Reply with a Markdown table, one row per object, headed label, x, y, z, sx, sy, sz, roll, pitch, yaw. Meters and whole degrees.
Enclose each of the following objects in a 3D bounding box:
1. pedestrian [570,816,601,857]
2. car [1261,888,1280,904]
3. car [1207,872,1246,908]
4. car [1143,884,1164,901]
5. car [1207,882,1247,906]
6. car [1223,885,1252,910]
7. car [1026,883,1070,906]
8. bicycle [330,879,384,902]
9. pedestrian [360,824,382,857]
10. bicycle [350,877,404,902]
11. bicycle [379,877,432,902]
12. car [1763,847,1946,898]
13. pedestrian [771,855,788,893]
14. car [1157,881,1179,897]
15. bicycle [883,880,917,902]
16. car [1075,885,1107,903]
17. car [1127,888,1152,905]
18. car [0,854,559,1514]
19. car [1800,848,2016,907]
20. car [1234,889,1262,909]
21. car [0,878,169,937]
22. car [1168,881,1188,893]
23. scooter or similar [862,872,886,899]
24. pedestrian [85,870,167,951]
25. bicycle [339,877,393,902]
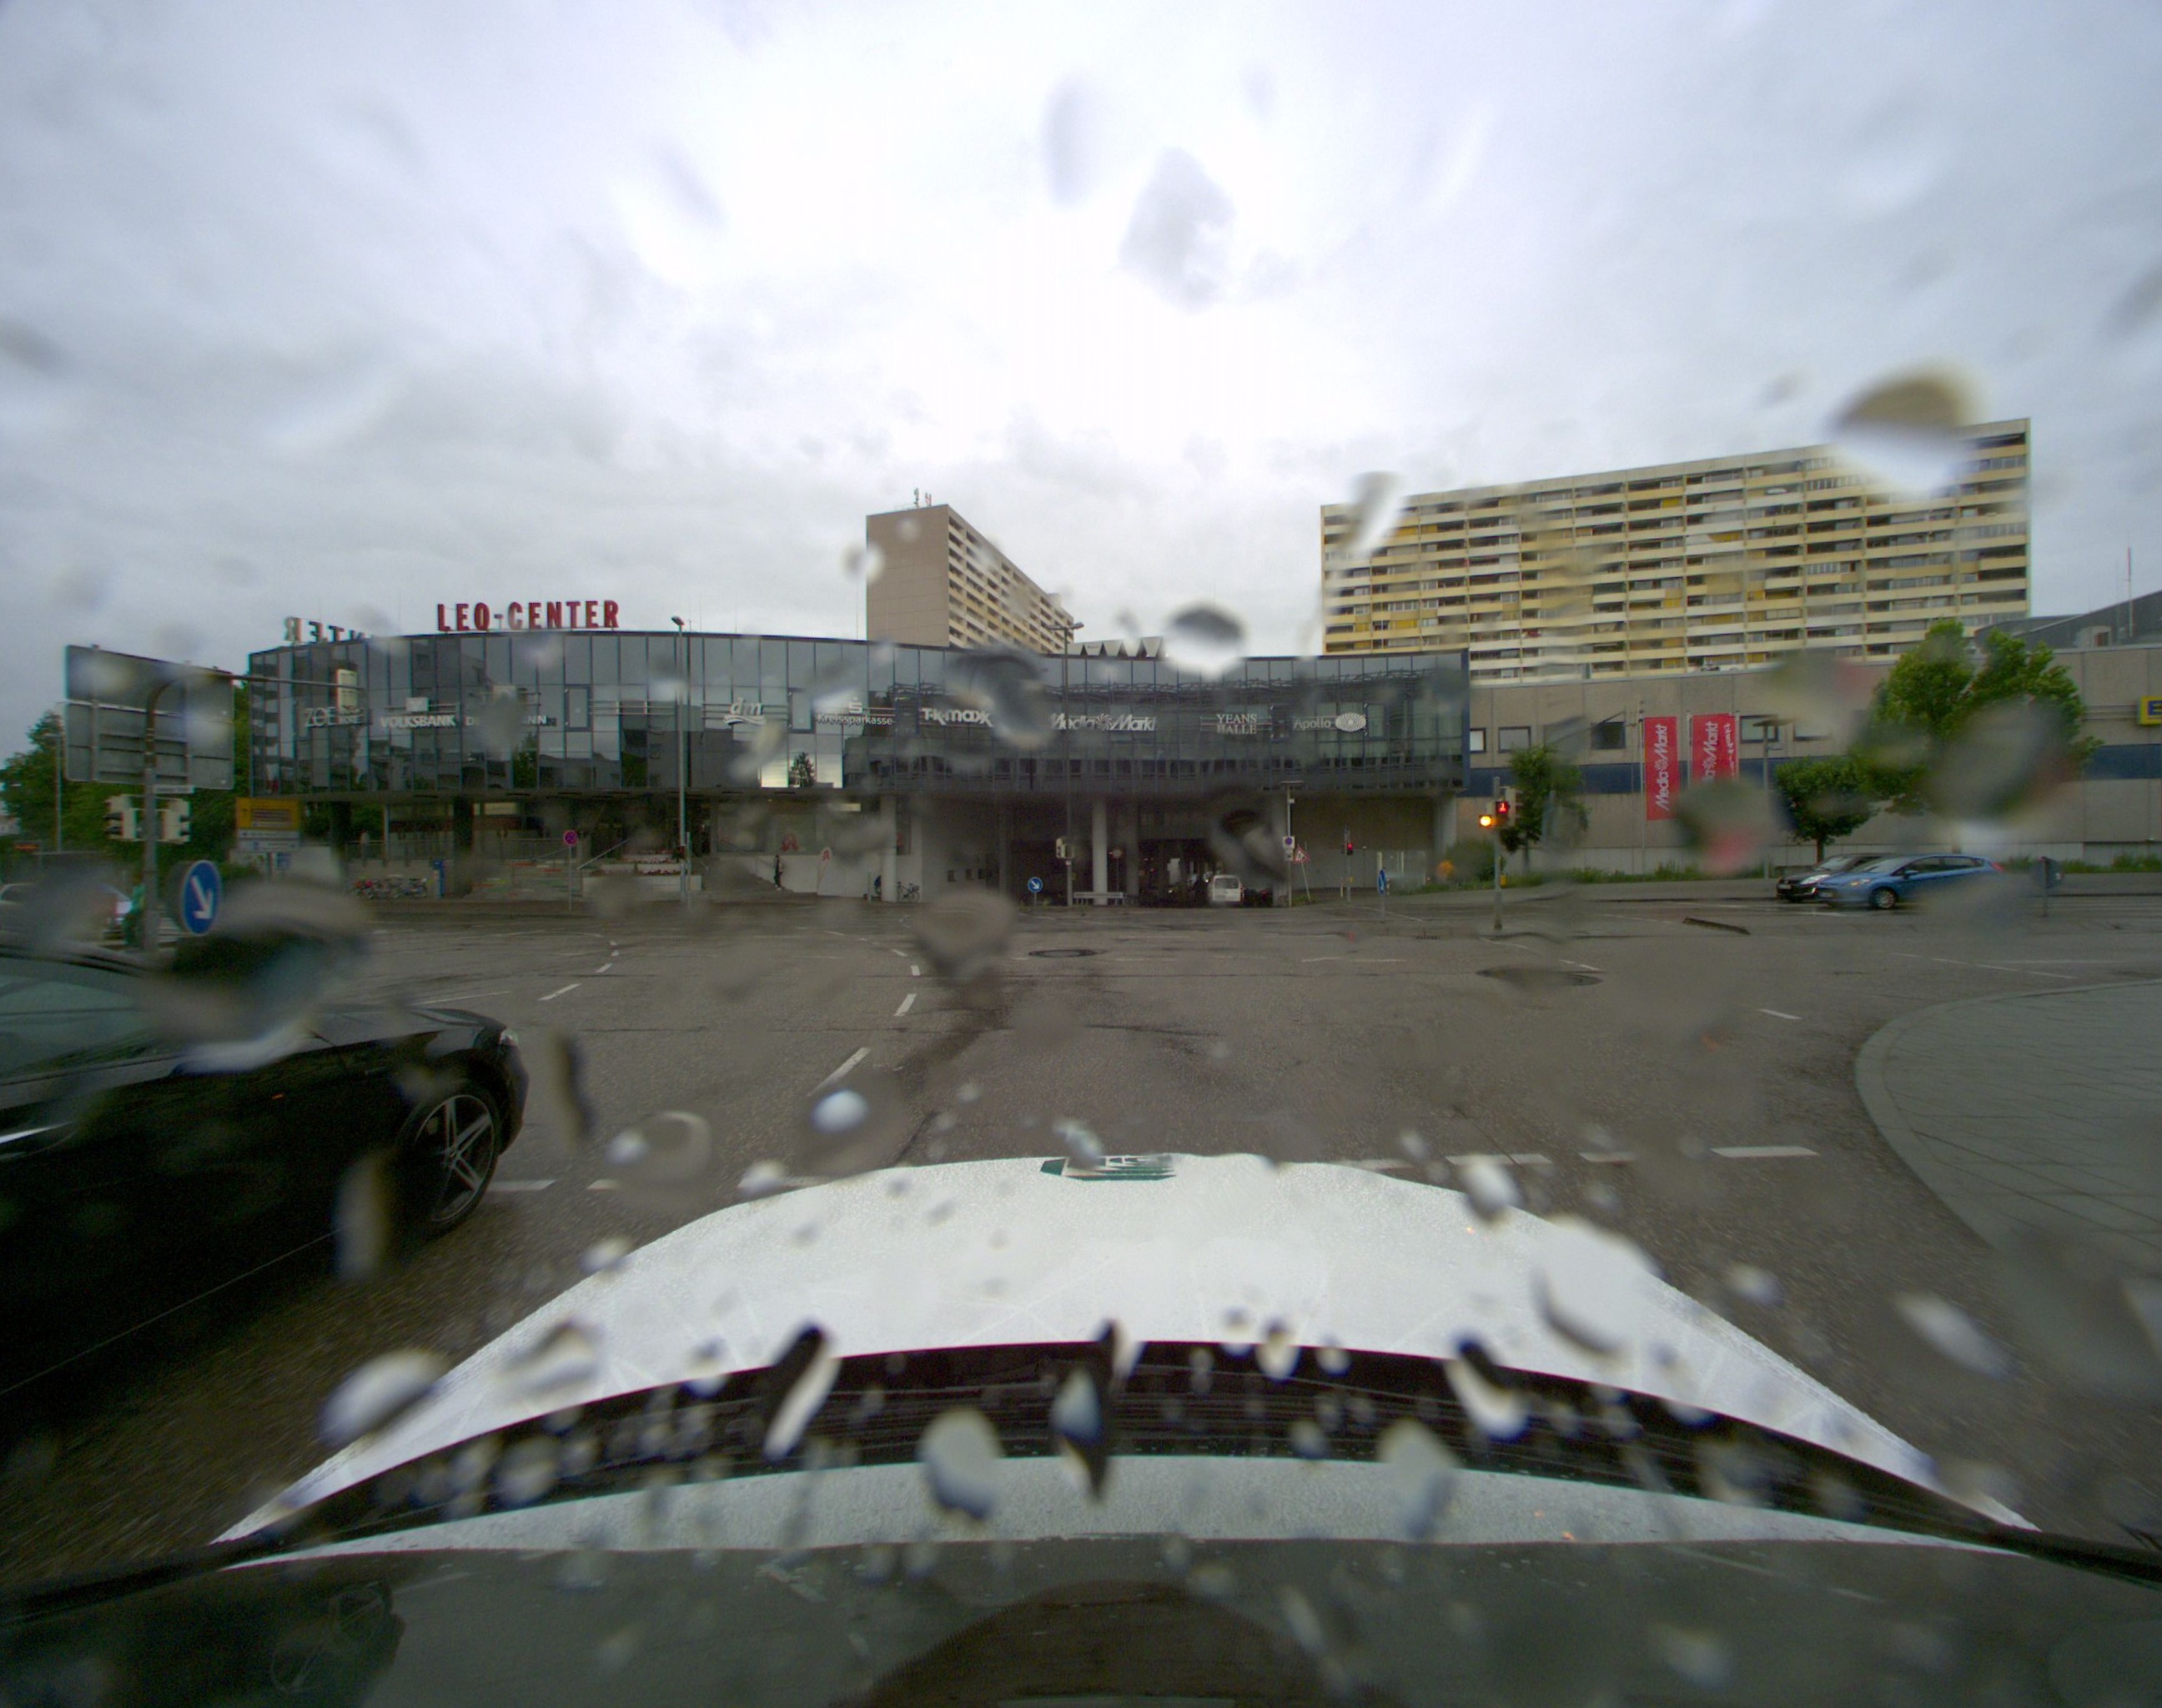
| label | x | y | z | sx | sy | sz | roll | pitch | yaw |
| --- | --- | --- | --- | --- | --- | --- | --- | --- | --- |
| pedestrian | -24.539 | -0.865 | 40.372 | 0.823 | 2.014 | 0.956 | 1 | -1 | 16 |
| car | 19.943 | 4.358 | 85.868 | 1.875 | 1.491 | 3.854 | 1 | 0 | 13 |
| car | 7.752 | 1.876 | 43.339 | 1.914 | 1.798 | 4.308 | -1 | -2 | 10 |
| car | 8.114 | 4.314 | 90.892 | 1.824 | 1.728 | 4.012 | -1 | -1 | 11 |
| car | 9.221 | 2.522 | 51.143 | 1.743 | 1.464 | 3.962 | -2 | -4 | 20 |
| car | 10.794 | 2.989 | 55.909 | 1.621 | 1.612 | 4.278 | -2 | -4 | 15 |
| car | -2.255 | 2.852 | 57.145 | 1.878 | 1.470 | 4.042 | -1 | -5 | 16 |
| bicycle | -35.298 | 1.771 | 39.732 | 0.530 | 0.951 | 1.865 | 0 | 3 | 21 |
| pedestrian | -37.445 | -0.719 | 42.969 | 0.593 | 1.713 | 0.658 | 1 | -1 | 23 |
| bicycle | -33.931 | 1.719 | 39.291 | 0.640 | 1.042 | 1.864 | -1 | 2 | 18 |
| bicycle | -32.298 | 1.690 | 38.961 | 0.625 | 1.023 | 1.864 | -1 | 2 | 18 |
| car | 23.416 | 0.557 | 24.788 | 3.663 | 1.395 | 1.748 | -2 | -1 | 9 |
| pedestrian | -15.318 | 1.000 | 41.369 | 0.655 | 1.908 | 0.593 | 0 | -1 | -9 |
| car | 10.313 | 4.158 | 96.653 | 1.979 | 1.664 | 4.016 | 1 | 0 | 15 |
| bicycle | -9.517 | 1.943 | 42.863 | 1.592 | 1.018 | 0.447 | 6 | -3 | -31 |
| car | 0.848 | 3.410 | 68.981 | 1.757 | 1.464 | 3.890 | -2 | -3 | 15 |
| car | 6.165 | 4.434 | 85.943 | 1.900 | 1.588 | 3.954 | -2 | -1 | 15 |
| car | -3.346 | 0.788 | 1.952 | 1.659 | 1.481 | 4.091 | 1 | 1 | -2 |
| car | 22.066 | 0.627 | 21.878 | 3.821 | 1.397 | 1.683 | -2 | -1 | 7 |
| car | 12.479 | 3.304 | 60.643 | 1.766 | 1.400 | 4.015 | -2 | -2 | 15 |
| car | -27.083 | 1.396 | 21.863 | 3.951 | 1.441 | 1.753 | 0 | 0 | 13 |
| car | 12.411 | 4.236 | 104.309 | 1.979 | 1.464 | 4.016 | -2 | -1 | 15 |
| scooter or similar | -10.822 | 1.639 | 42.520 | 1.168 | 1.373 | 0.486 | 1 | -1 | -16 |
| pedestrian | -19.779 | 1.148 | 16.867 | 0.941 | 1.623 | 0.813 | -1 | 0 | 20 |
| bicycle | -34.652 | 1.714 | 39.502 | 0.622 | 1.033 | 1.864 | -1 | 2 | 18 |
